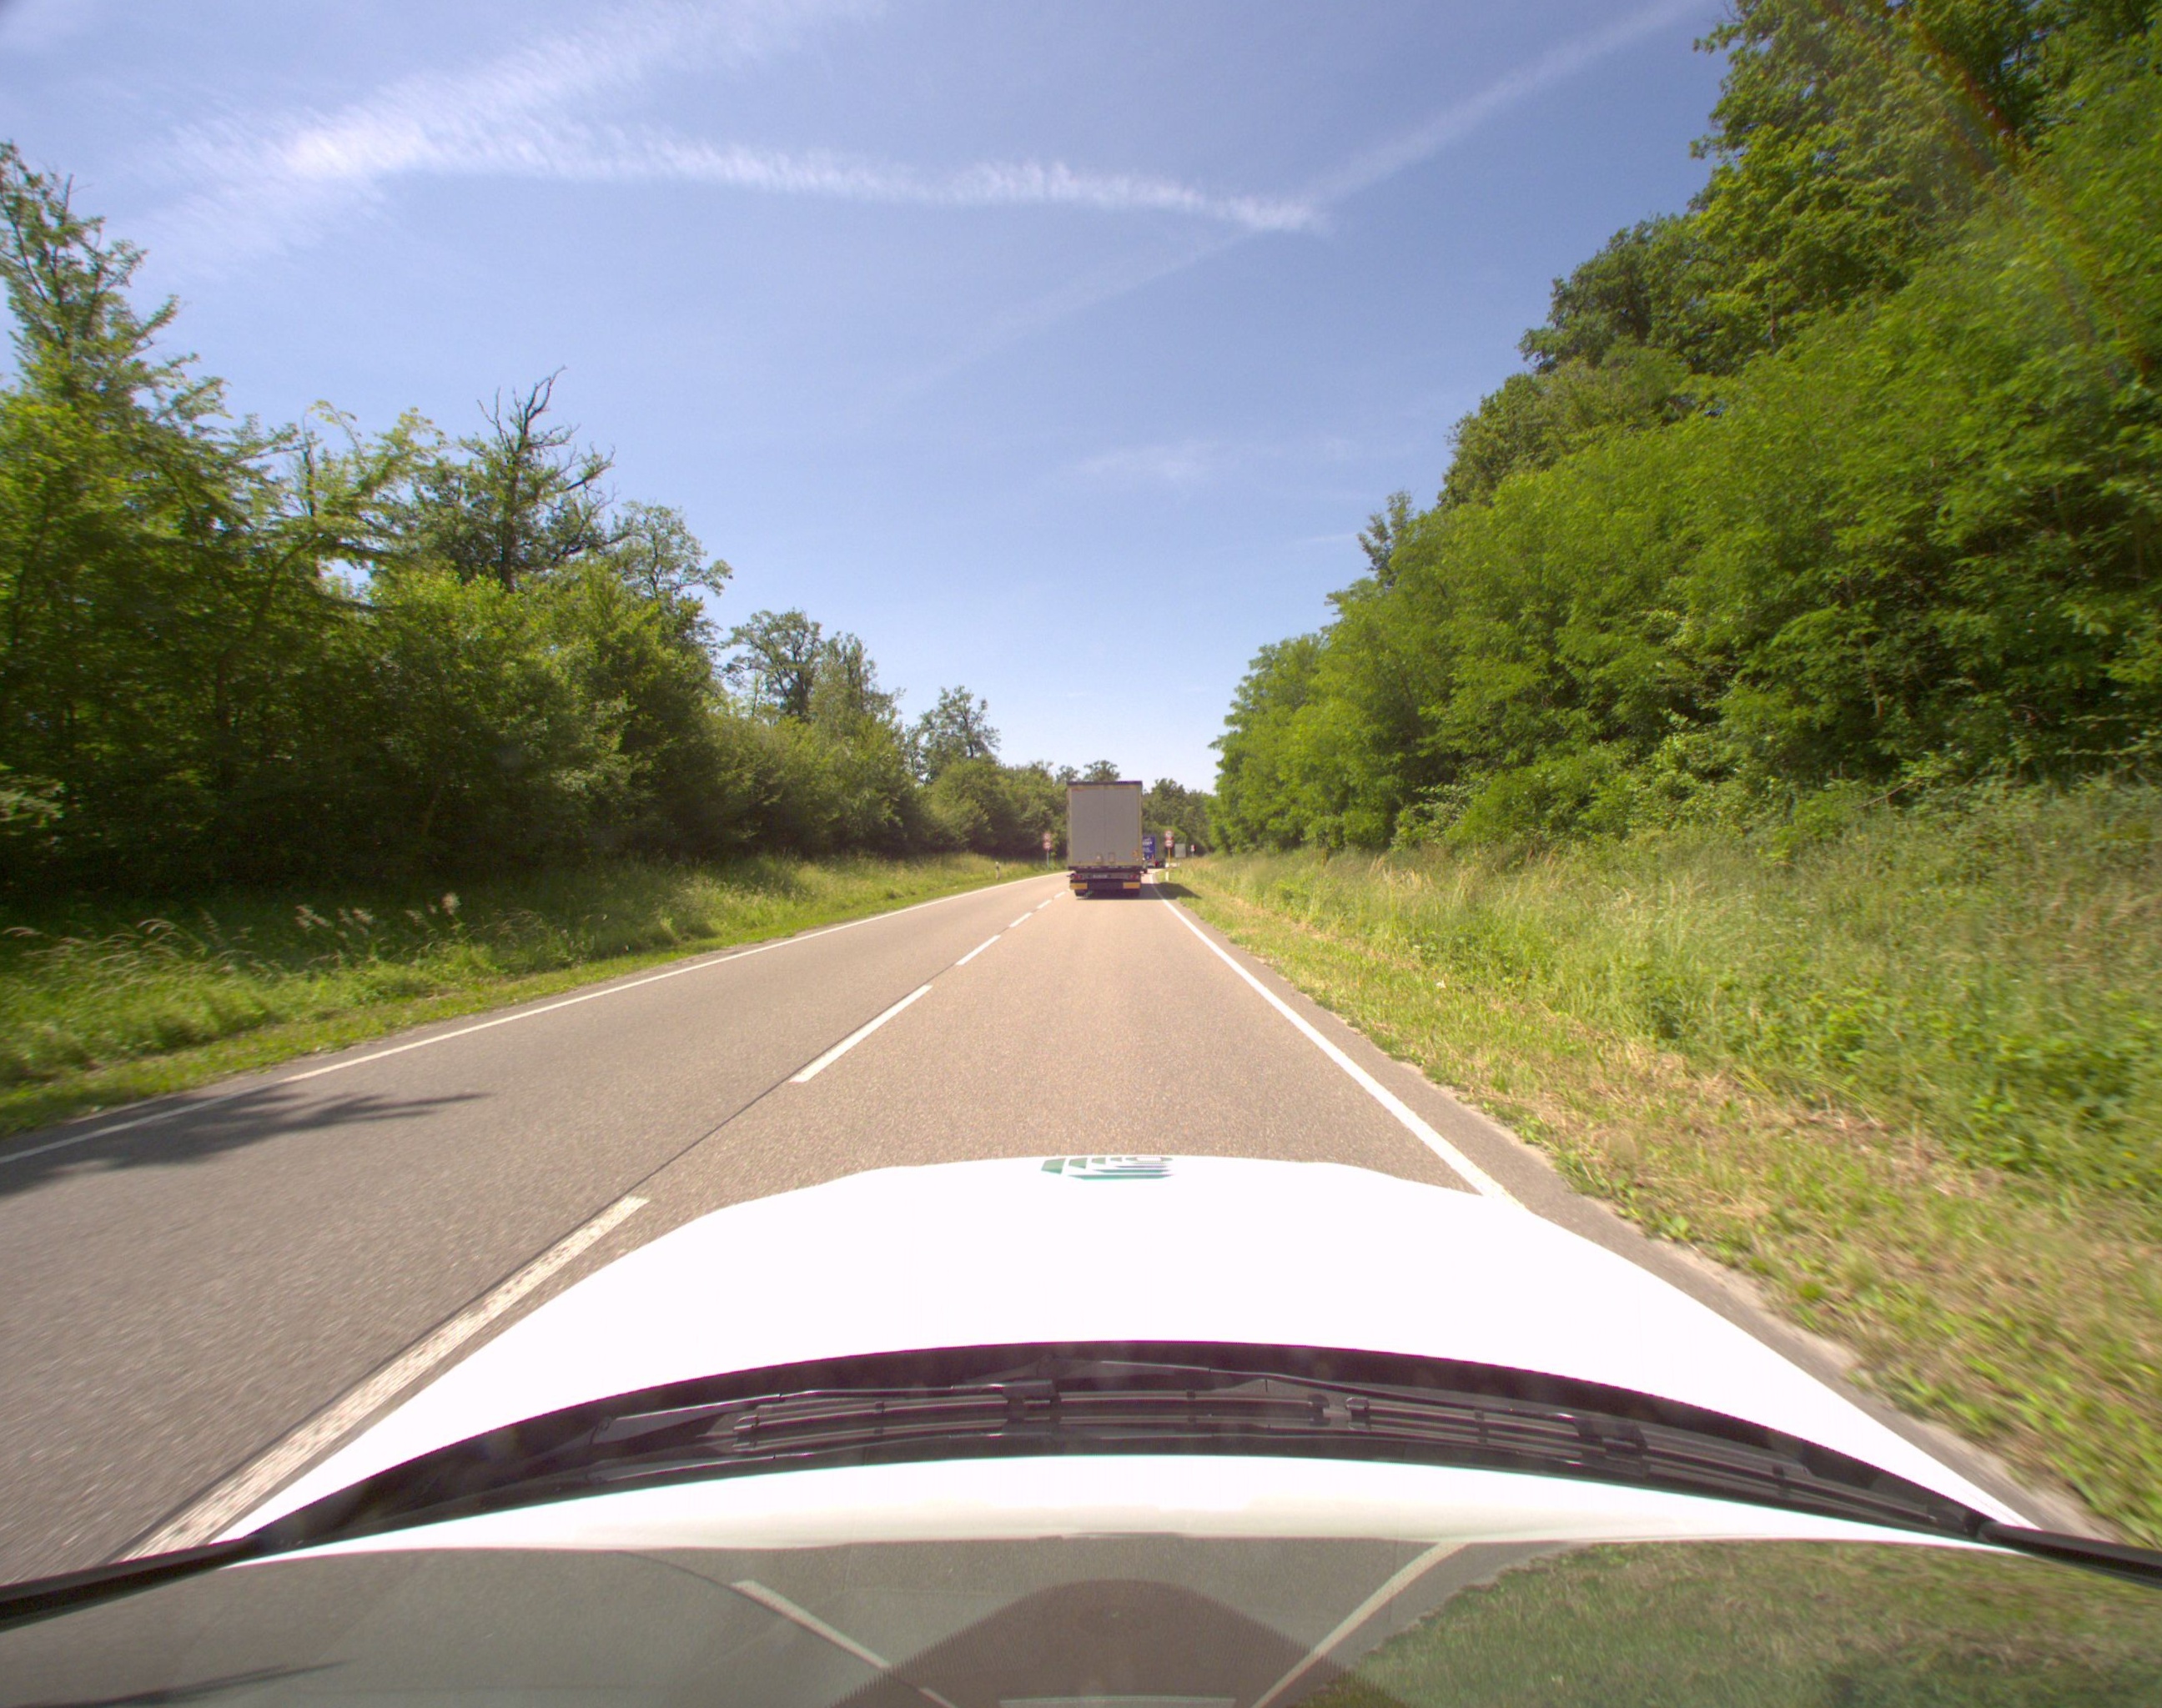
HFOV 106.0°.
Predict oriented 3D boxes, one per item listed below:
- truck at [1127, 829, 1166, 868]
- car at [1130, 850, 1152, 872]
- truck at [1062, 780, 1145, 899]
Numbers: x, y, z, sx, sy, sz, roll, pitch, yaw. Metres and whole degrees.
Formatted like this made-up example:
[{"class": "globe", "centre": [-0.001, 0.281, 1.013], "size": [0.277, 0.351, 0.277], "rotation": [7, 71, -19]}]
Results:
[{"class": "truck", "centre": [8.224, -0.671, 100.260], "size": [3.772, 4.373, 14.954], "rotation": [-1, 0, 8]}, {"class": "car", "centre": [5.014, 0.583, 67.670], "size": [1.762, 1.708, 4.005], "rotation": [-1, 0, 4]}, {"class": "truck", "centre": [0.996, -0.501, 33.295], "size": [2.750, 3.947, 12.204], "rotation": [0, 0, 2]}]
